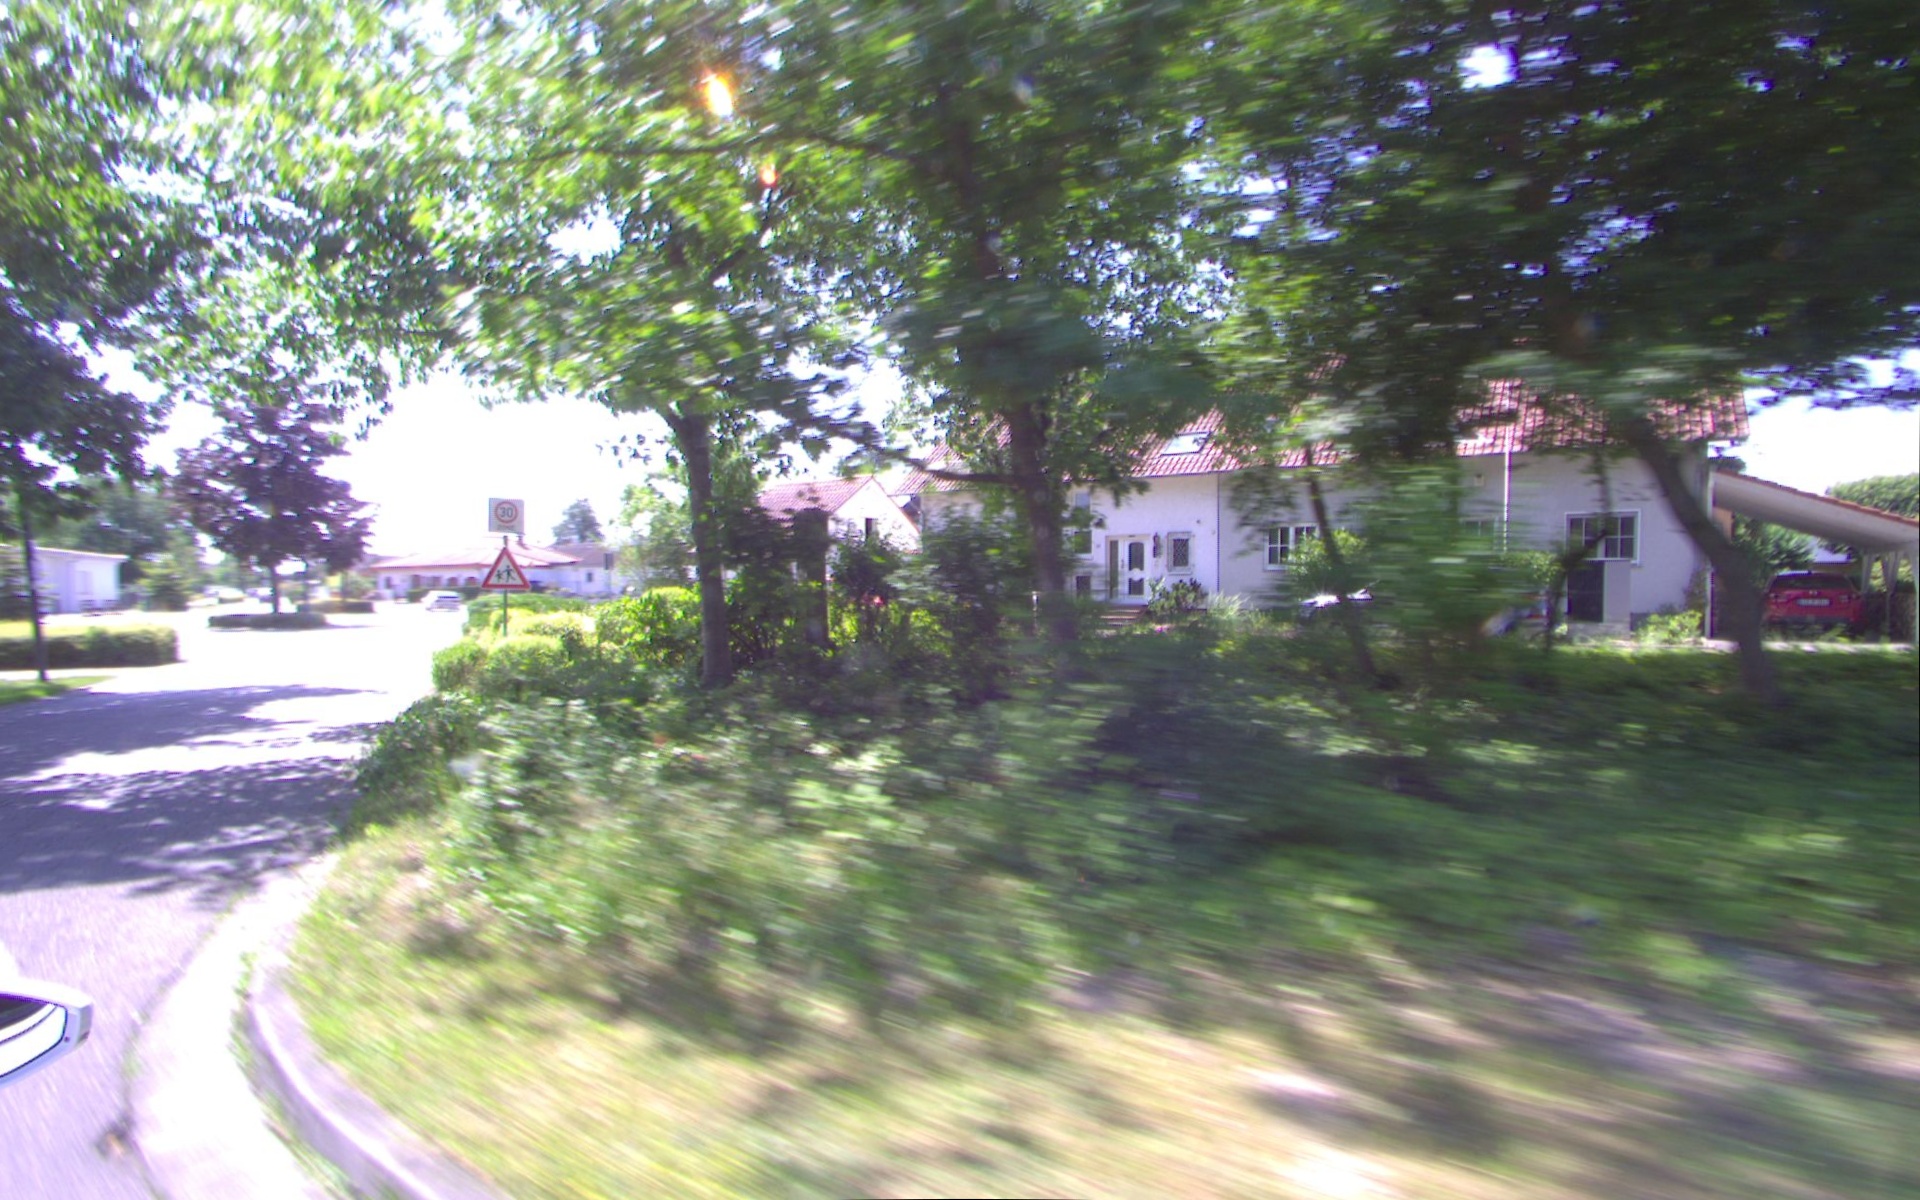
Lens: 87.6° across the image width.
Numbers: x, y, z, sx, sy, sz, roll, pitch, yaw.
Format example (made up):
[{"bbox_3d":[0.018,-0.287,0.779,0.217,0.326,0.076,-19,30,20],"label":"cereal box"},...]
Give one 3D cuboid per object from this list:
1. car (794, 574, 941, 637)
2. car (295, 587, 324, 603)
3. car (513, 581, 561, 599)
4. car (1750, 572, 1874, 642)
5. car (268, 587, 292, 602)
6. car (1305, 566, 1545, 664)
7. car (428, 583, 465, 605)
[{"bbox_3d":[-2.602,0.118,27.862,3.973,1.623,1.655,1,1,36],"label":"car"},{"bbox_3d":[-57.429,-0.450,88.362,1.975,1.305,3.970,-1,1,-36],"label":"car"},{"bbox_3d":[-37.921,-0.891,89.890,1.822,1.563,3.826,0,1,21],"label":"car"},{"bbox_3d":[18.707,0.100,22.141,1.661,1.404,3.671,1,2,34],"label":"car"},{"bbox_3d":[-59.502,-0.500,87.634,1.599,1.306,3.530,-1,1,-36],"label":"car"},{"bbox_3d":[9.012,0.249,19.512,4.082,1.728,1.657,0,1,31],"label":"car"},{"bbox_3d":[-32.103,-0.381,62.586,1.599,1.306,3.531,-1,1,-35],"label":"car"}]
